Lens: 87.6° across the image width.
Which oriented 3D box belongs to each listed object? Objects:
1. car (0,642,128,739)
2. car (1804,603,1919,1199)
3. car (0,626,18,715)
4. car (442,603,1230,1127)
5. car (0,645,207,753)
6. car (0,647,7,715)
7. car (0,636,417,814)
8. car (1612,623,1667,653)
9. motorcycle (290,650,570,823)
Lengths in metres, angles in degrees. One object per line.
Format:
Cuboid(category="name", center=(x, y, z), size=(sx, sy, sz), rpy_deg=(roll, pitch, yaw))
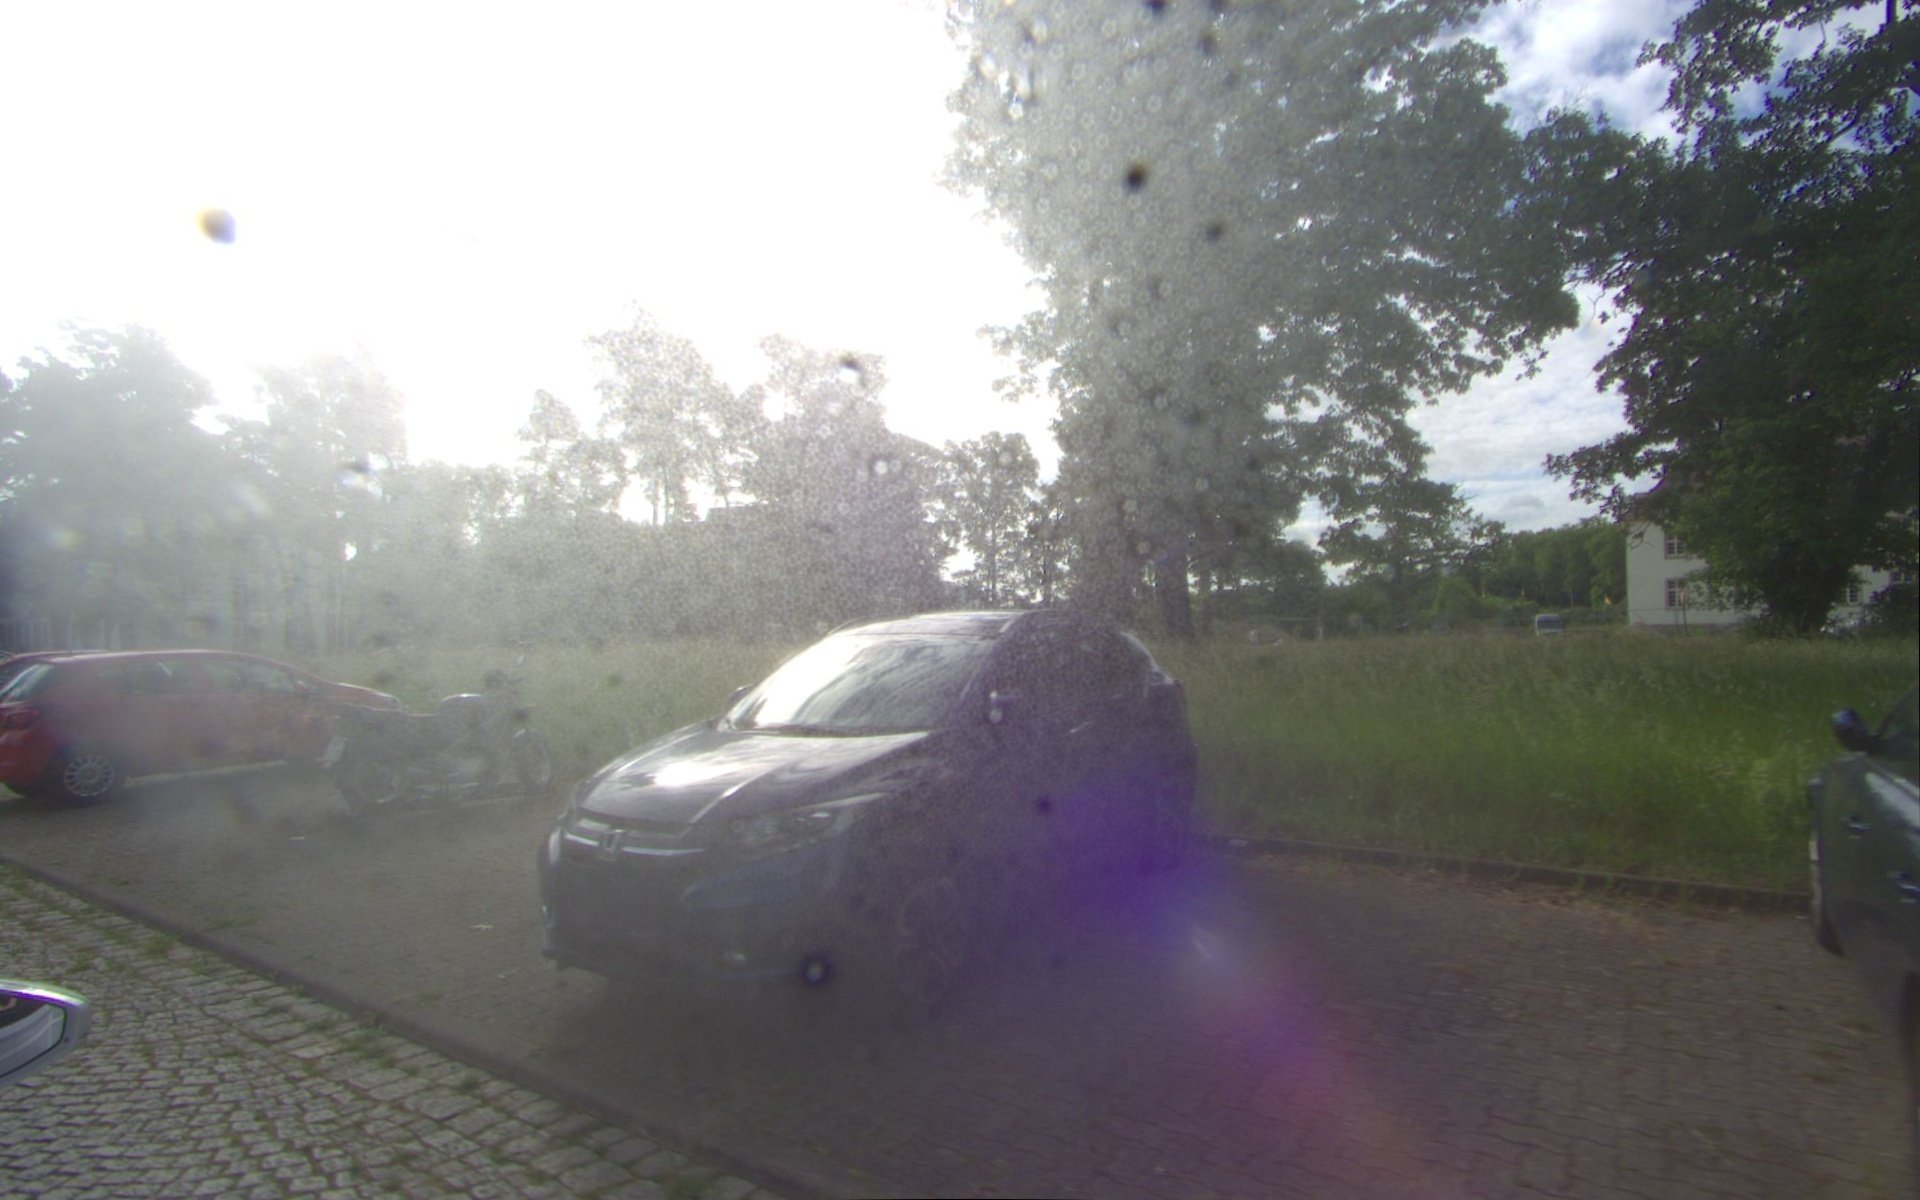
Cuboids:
Cuboid(category="car", center=(-16.792, 1.533, 16.883), size=(1.737, 1.600, 3.943), rpy_deg=(-2, -2, 32))
Cuboid(category="car", center=(3.605, 0.759, 2.637), size=(1.872, 1.484, 4.487), rpy_deg=(-2, 0, 37))
Cuboid(category="car", center=(-24.022, 1.611, 21.879), size=(1.713, 2.066, 4.774), rpy_deg=(-1, -2, 32))
Cuboid(category="car", center=(-0.176, 0.843, 5.374), size=(1.869, 1.594, 4.252), rpy_deg=(-1, -1, 34))
Cuboid(category="car", center=(-14.497, 1.509, 15.706), size=(1.714, 1.538, 3.977), rpy_deg=(-2, -2, 34))
Cuboid(category="car", center=(-22.118, 1.765, 20.327), size=(1.631, 1.442, 3.715), rpy_deg=(-2, -1, 32))
Cuboid(category="car", center=(-8.462, 1.219, 11.209), size=(1.714, 1.525, 3.830), rpy_deg=(-2, -1, 33))
Cuboid(category="car", center=(48.749, 2.790, 71.992), size=(2.448, 2.038, 5.818), rpy_deg=(-2, -3, 26))
Cuboid(category="motorcycle", center=(-4.657, 1.134, 9.018), size=(0.597, 1.291, 2.262), rpy_deg=(-2, -1, 29))
